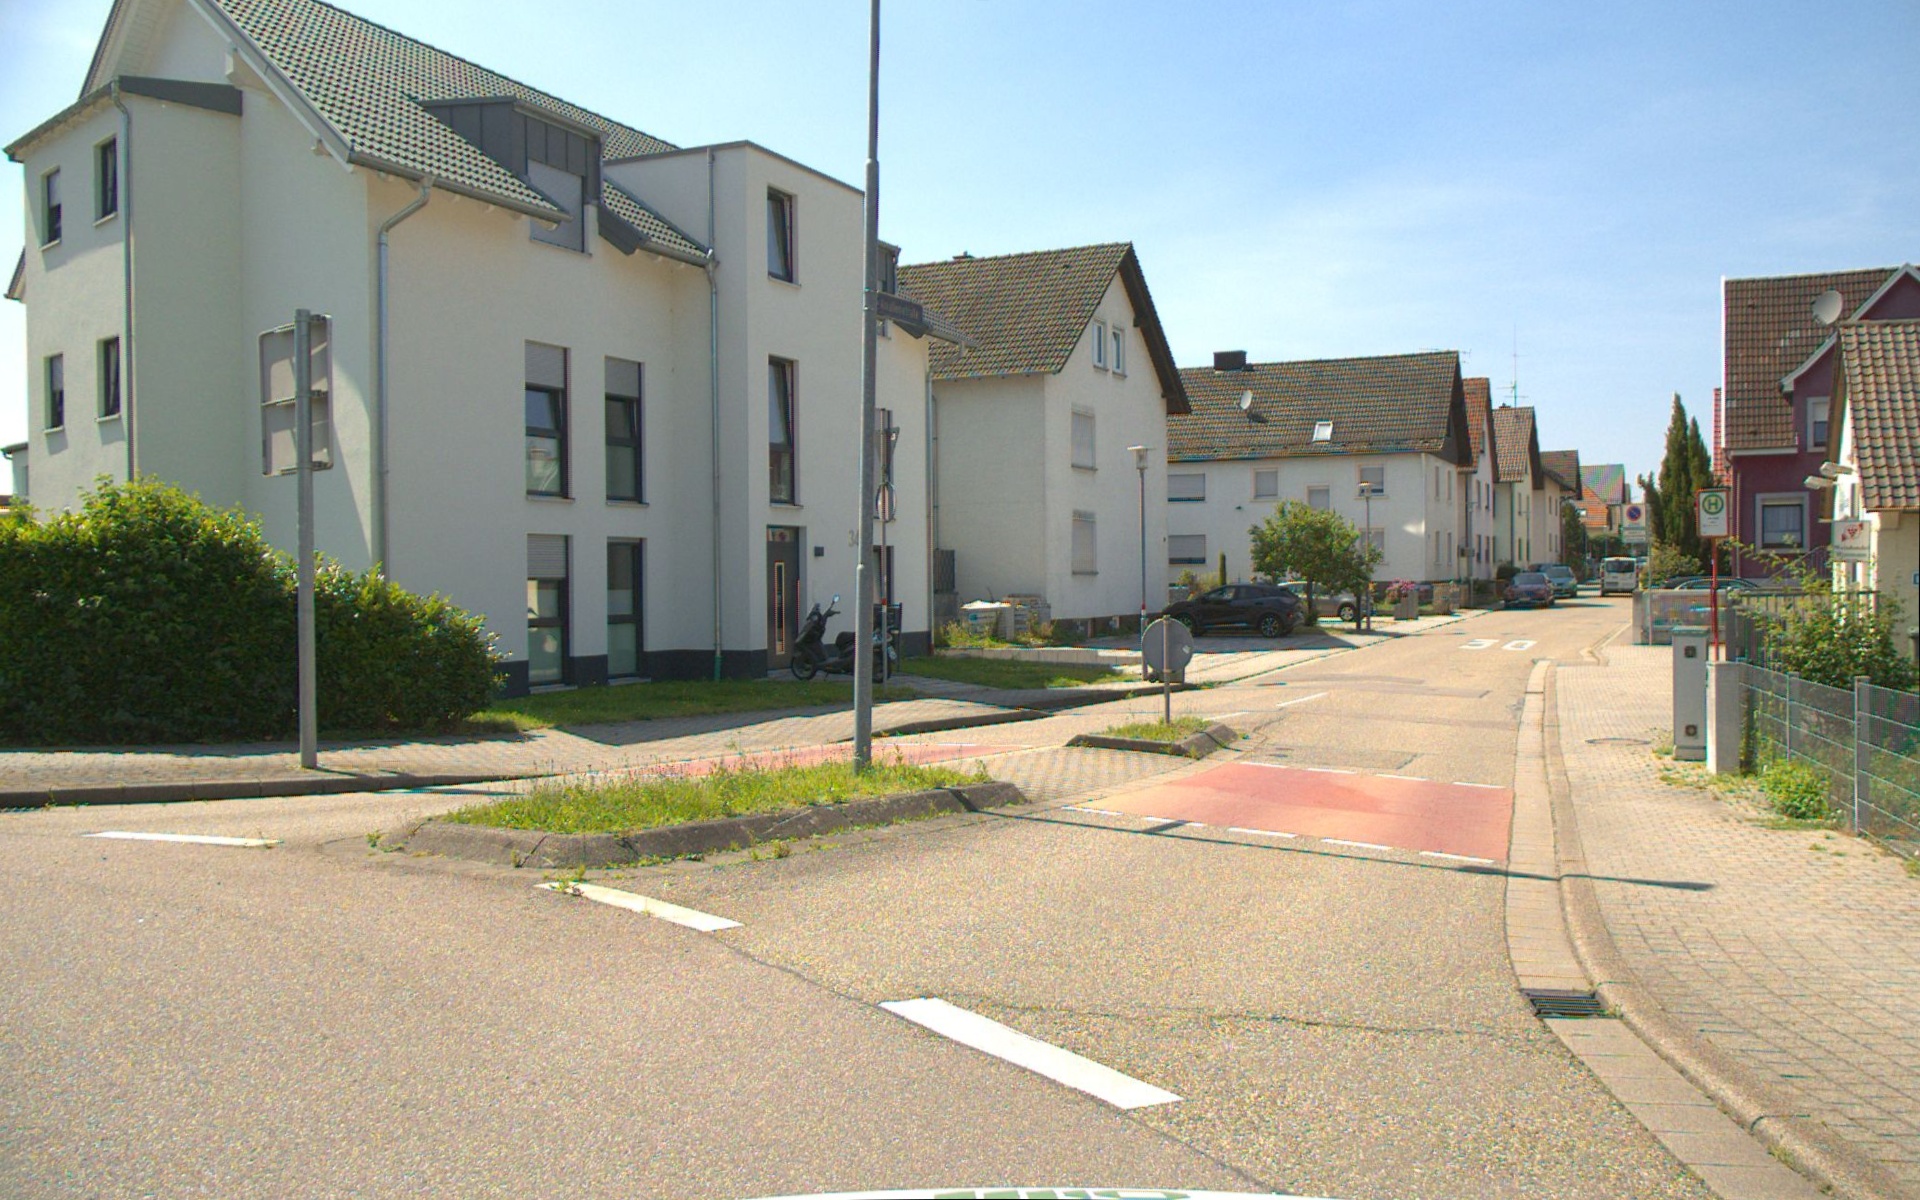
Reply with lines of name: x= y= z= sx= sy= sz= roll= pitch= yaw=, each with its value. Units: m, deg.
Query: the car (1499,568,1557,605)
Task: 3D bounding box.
car: x=25.028 y=-0.592 z=72.789 sx=1.954 sy=1.580 sz=3.997 roll=0 pitch=1 yaw=25

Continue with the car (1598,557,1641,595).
car: x=33.914 y=-1.212 z=85.000 sx=1.814 sy=1.818 sz=3.997 roll=0 pitch=-1 yaw=25

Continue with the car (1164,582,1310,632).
car: x=8.031 y=0.186 z=47.957 sx=3.906 sy=1.407 sz=1.660 roll=0 pitch=0 yaw=22

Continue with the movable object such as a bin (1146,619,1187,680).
movable object such as a bin: x=3.841 y=0.905 z=30.717 sx=0.633 sy=1.102 sz=0.457 roll=0 pitch=1 yaw=33

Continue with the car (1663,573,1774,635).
car: x=20.471 y=0.115 z=44.668 sx=2.689 sy=1.626 sz=1.170 roll=0 pitch=-1 yaw=25

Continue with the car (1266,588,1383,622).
car: x=13.194 y=0.163 z=59.852 sx=3.906 sy=1.211 sz=1.840 roll=0 pitch=1 yaw=23

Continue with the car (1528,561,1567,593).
car: x=30.630 y=-1.198 z=86.268 sx=1.884 sy=1.632 sz=4.001 roll=0 pitch=0 yaw=19

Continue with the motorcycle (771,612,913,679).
motorcycle: x=-1.938 y=0.730 z=26.988 sx=2.316 sy=1.031 sz=0.670 roll=0 pitch=-1 yaw=29
